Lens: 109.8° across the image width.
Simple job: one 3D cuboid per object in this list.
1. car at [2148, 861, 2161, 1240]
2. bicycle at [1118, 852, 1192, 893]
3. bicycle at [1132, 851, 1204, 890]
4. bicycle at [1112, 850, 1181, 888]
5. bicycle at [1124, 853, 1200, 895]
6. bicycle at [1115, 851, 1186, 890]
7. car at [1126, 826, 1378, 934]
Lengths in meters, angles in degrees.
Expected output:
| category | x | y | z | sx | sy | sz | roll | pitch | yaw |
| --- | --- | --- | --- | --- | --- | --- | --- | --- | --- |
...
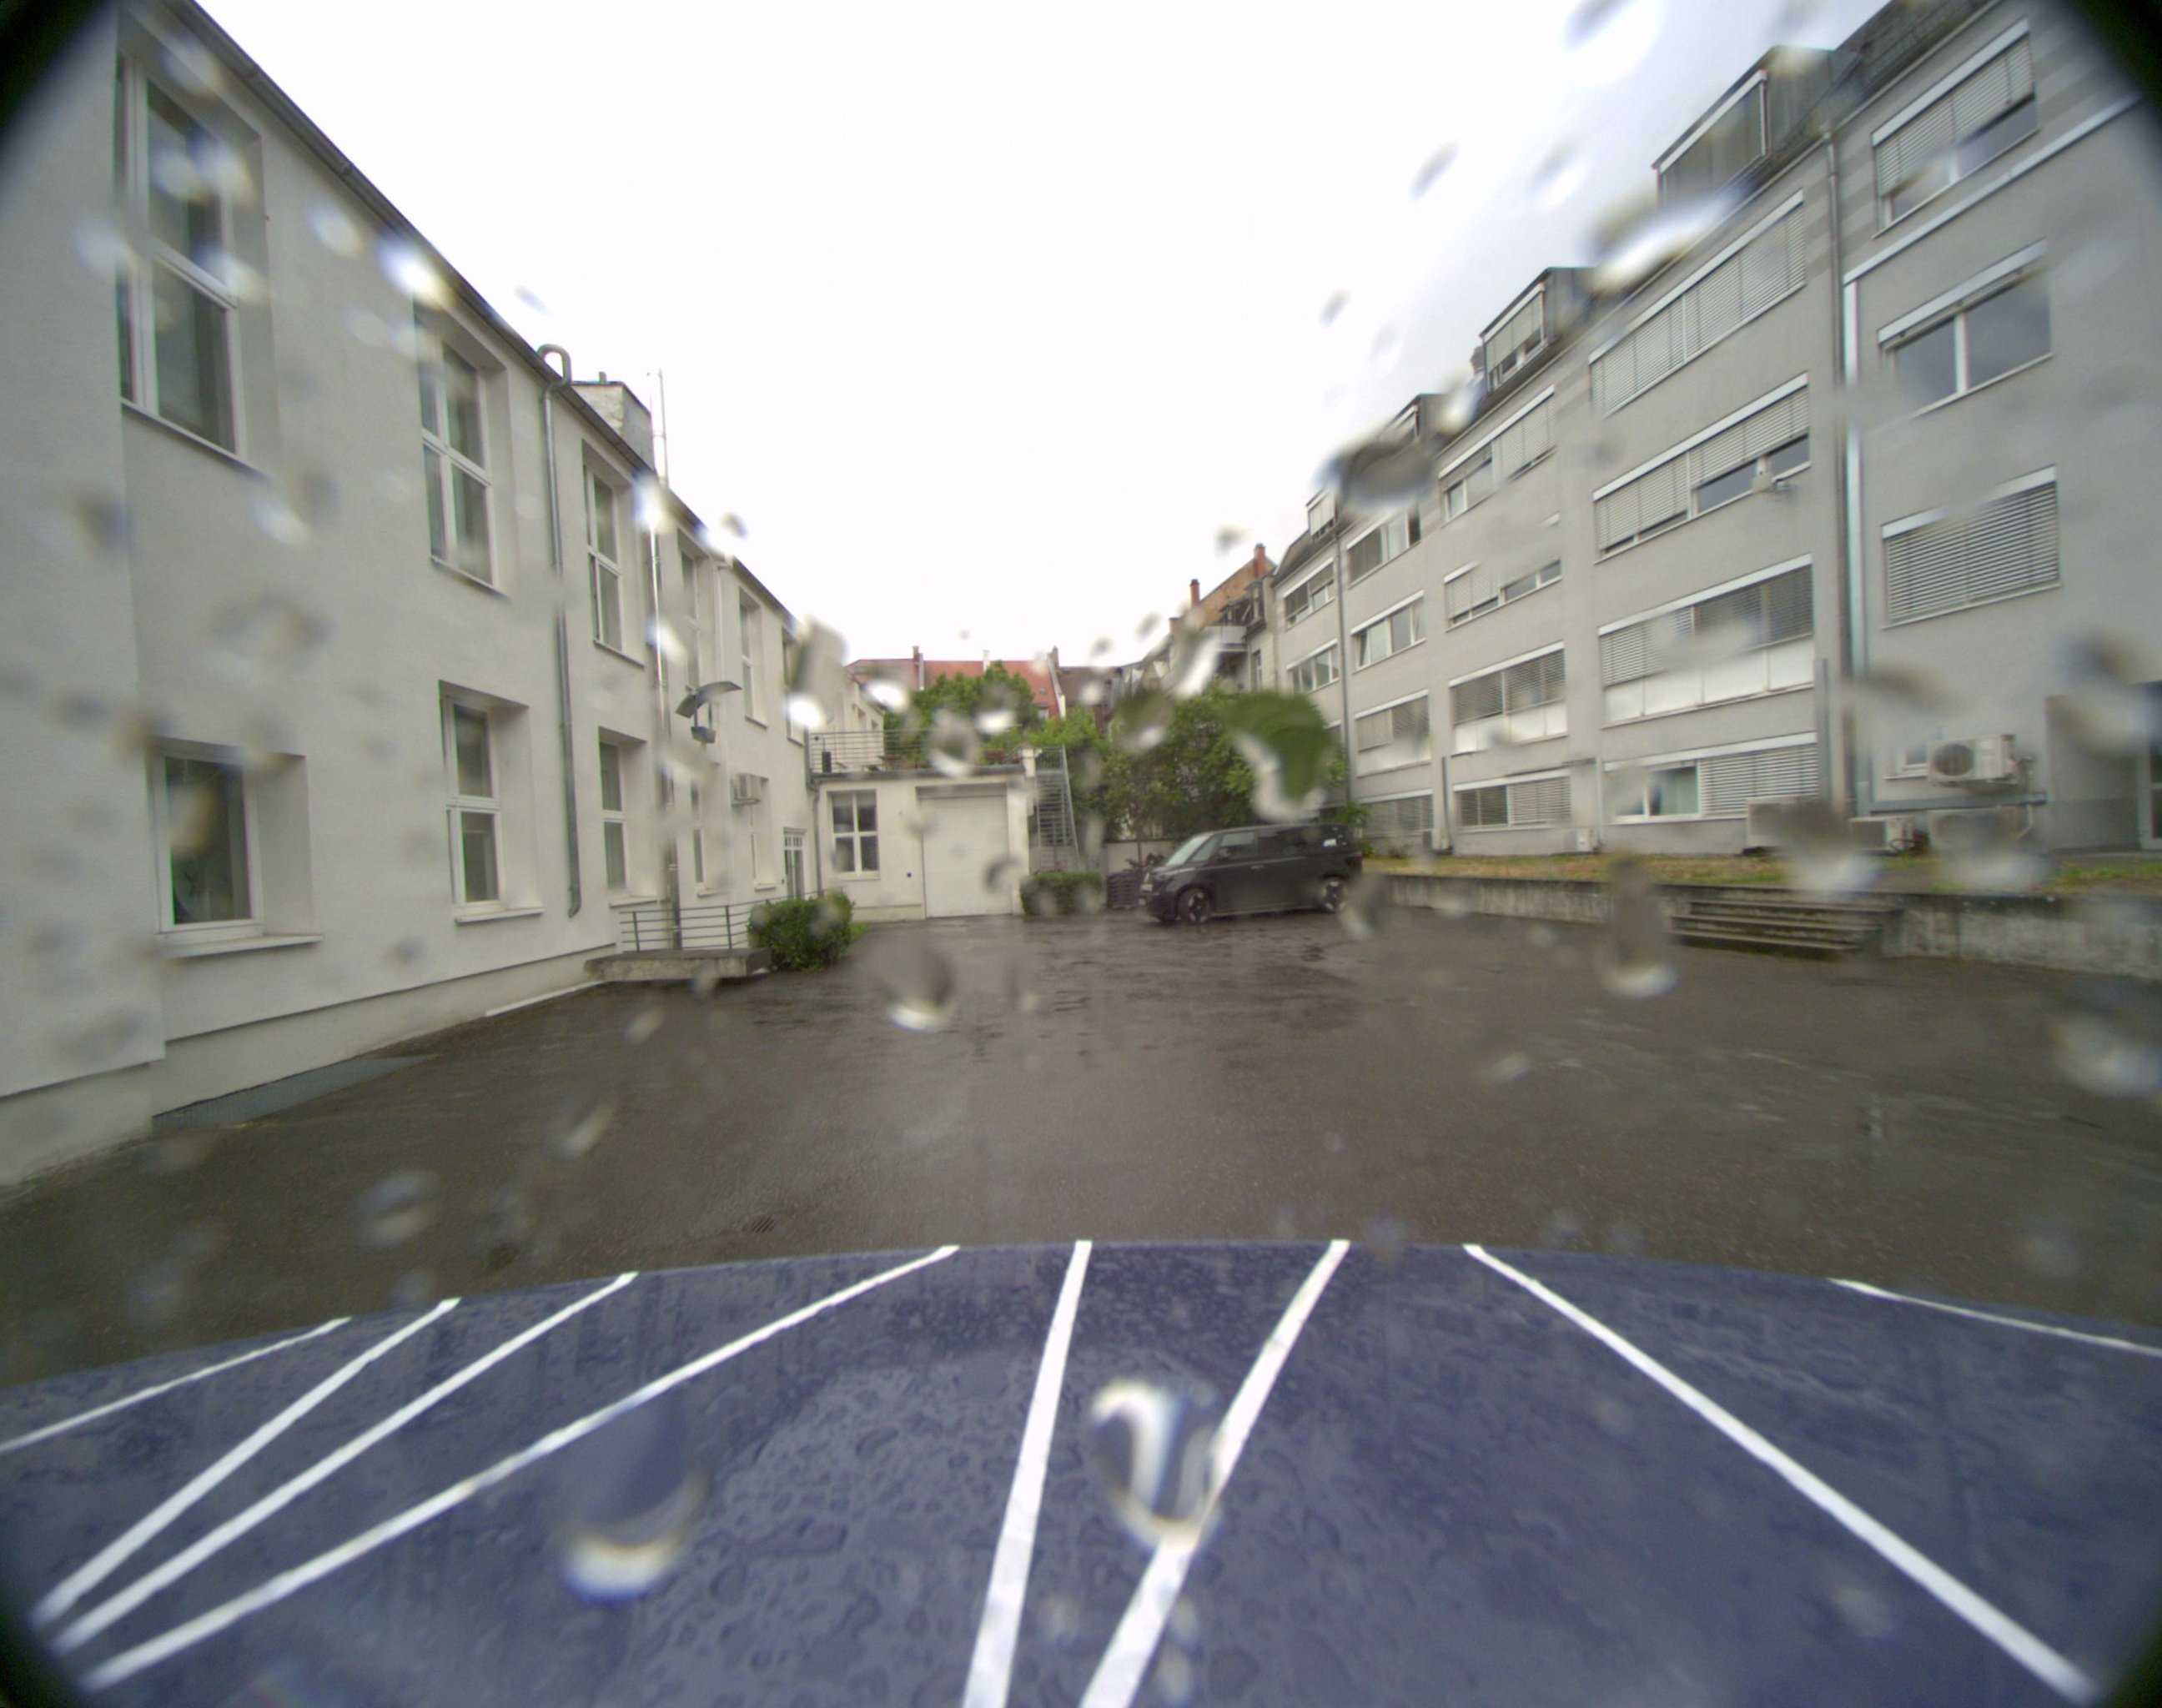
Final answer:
| category | x | y | z | sx | sy | sz | roll | pitch | yaw |
| --- | --- | --- | --- | --- | --- | --- | --- | --- | --- |
| car | 6.201 | 0.640 | 2.305 | 4.152 | 1.425 | 1.751 | -3 | 1 | -9 |
| bicycle | 2.449 | 0.613 | 25.148 | 2.320 | 1.180 | 0.643 | -3 | 3 | -3 |
| bicycle | 2.953 | 0.553 | 25.847 | 2.320 | 1.180 | 0.643 | -3 | 3 | -3 |
| bicycle | 2.310 | 0.533 | 26.941 | 2.320 | 1.180 | 0.643 | -3 | 3 | -3 |
| bicycle | 2.584 | 0.645 | 24.359 | 2.320 | 1.180 | 0.643 | -3 | 3 | -3 |
| bicycle | 2.404 | 0.559 | 26.314 | 2.320 | 1.180 | 0.643 | -3 | 3 | -3 |
| car | 3.486 | 0.499 | 15.896 | 4.632 | 1.826 | 1.987 | -3 | 0 | -11 |
